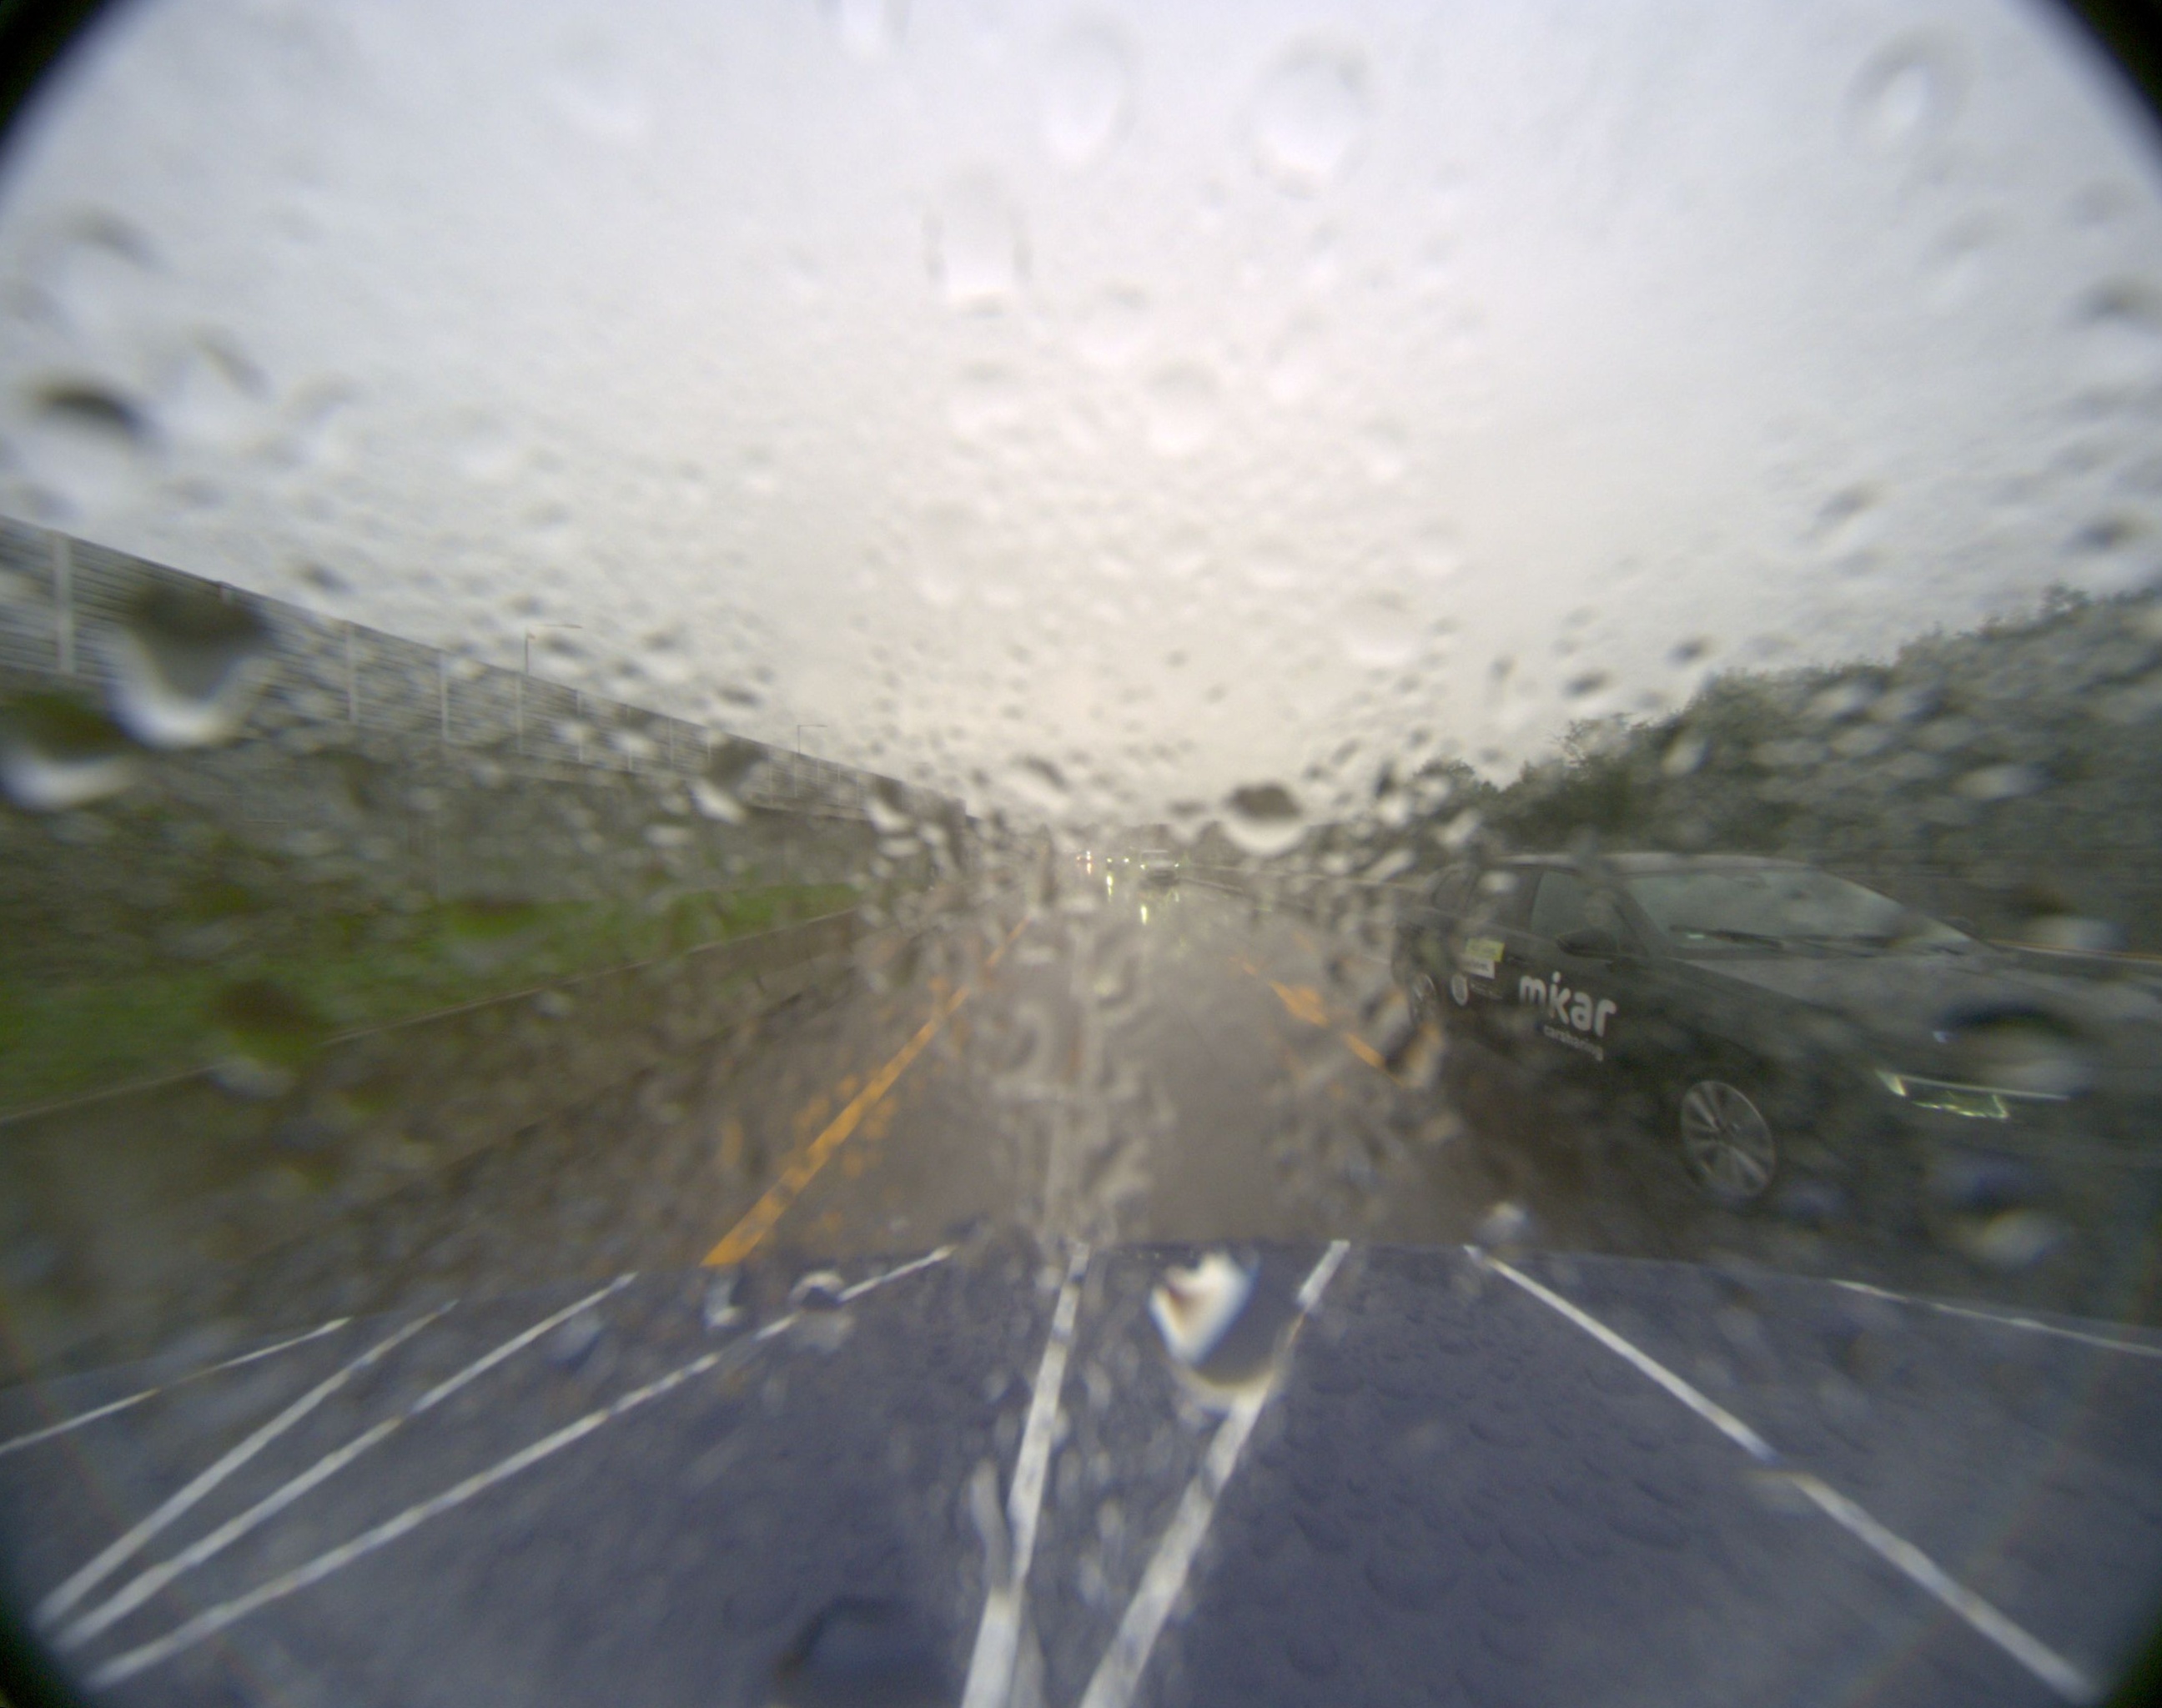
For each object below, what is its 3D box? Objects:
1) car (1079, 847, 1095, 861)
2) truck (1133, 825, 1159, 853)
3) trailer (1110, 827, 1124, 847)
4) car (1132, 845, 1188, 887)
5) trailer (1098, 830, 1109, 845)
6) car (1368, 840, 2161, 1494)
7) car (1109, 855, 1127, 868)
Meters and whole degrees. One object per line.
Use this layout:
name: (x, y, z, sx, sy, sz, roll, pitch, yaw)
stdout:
car: (0.826, 0.034, 105.365, 1.999, 1.762, 3.998, -2, 2, -1)
truck: (9.787, -2.320, 115.021, 3.012, 4.143, 9.827, 0, 2, 0)
trailer: (8.667, -4.126, 185.698, 2.554, 4.564, 12.004, -2, 2, 0)
car: (3.551, 0.497, 34.895, 1.972, 1.671, 3.998, -2, 2, -2)
trailer: (6.847, -5.062, 233.539, 2.491, 4.418, 11.190, -2, 2, -1)
car: (3.409, 0.723, 4.175, 1.943, 1.519, 4.796, -2, 0, 2)
car: (3.254, 0.664, 66.494, 1.335, 1.105, 3.198, 1, 0, -1)
